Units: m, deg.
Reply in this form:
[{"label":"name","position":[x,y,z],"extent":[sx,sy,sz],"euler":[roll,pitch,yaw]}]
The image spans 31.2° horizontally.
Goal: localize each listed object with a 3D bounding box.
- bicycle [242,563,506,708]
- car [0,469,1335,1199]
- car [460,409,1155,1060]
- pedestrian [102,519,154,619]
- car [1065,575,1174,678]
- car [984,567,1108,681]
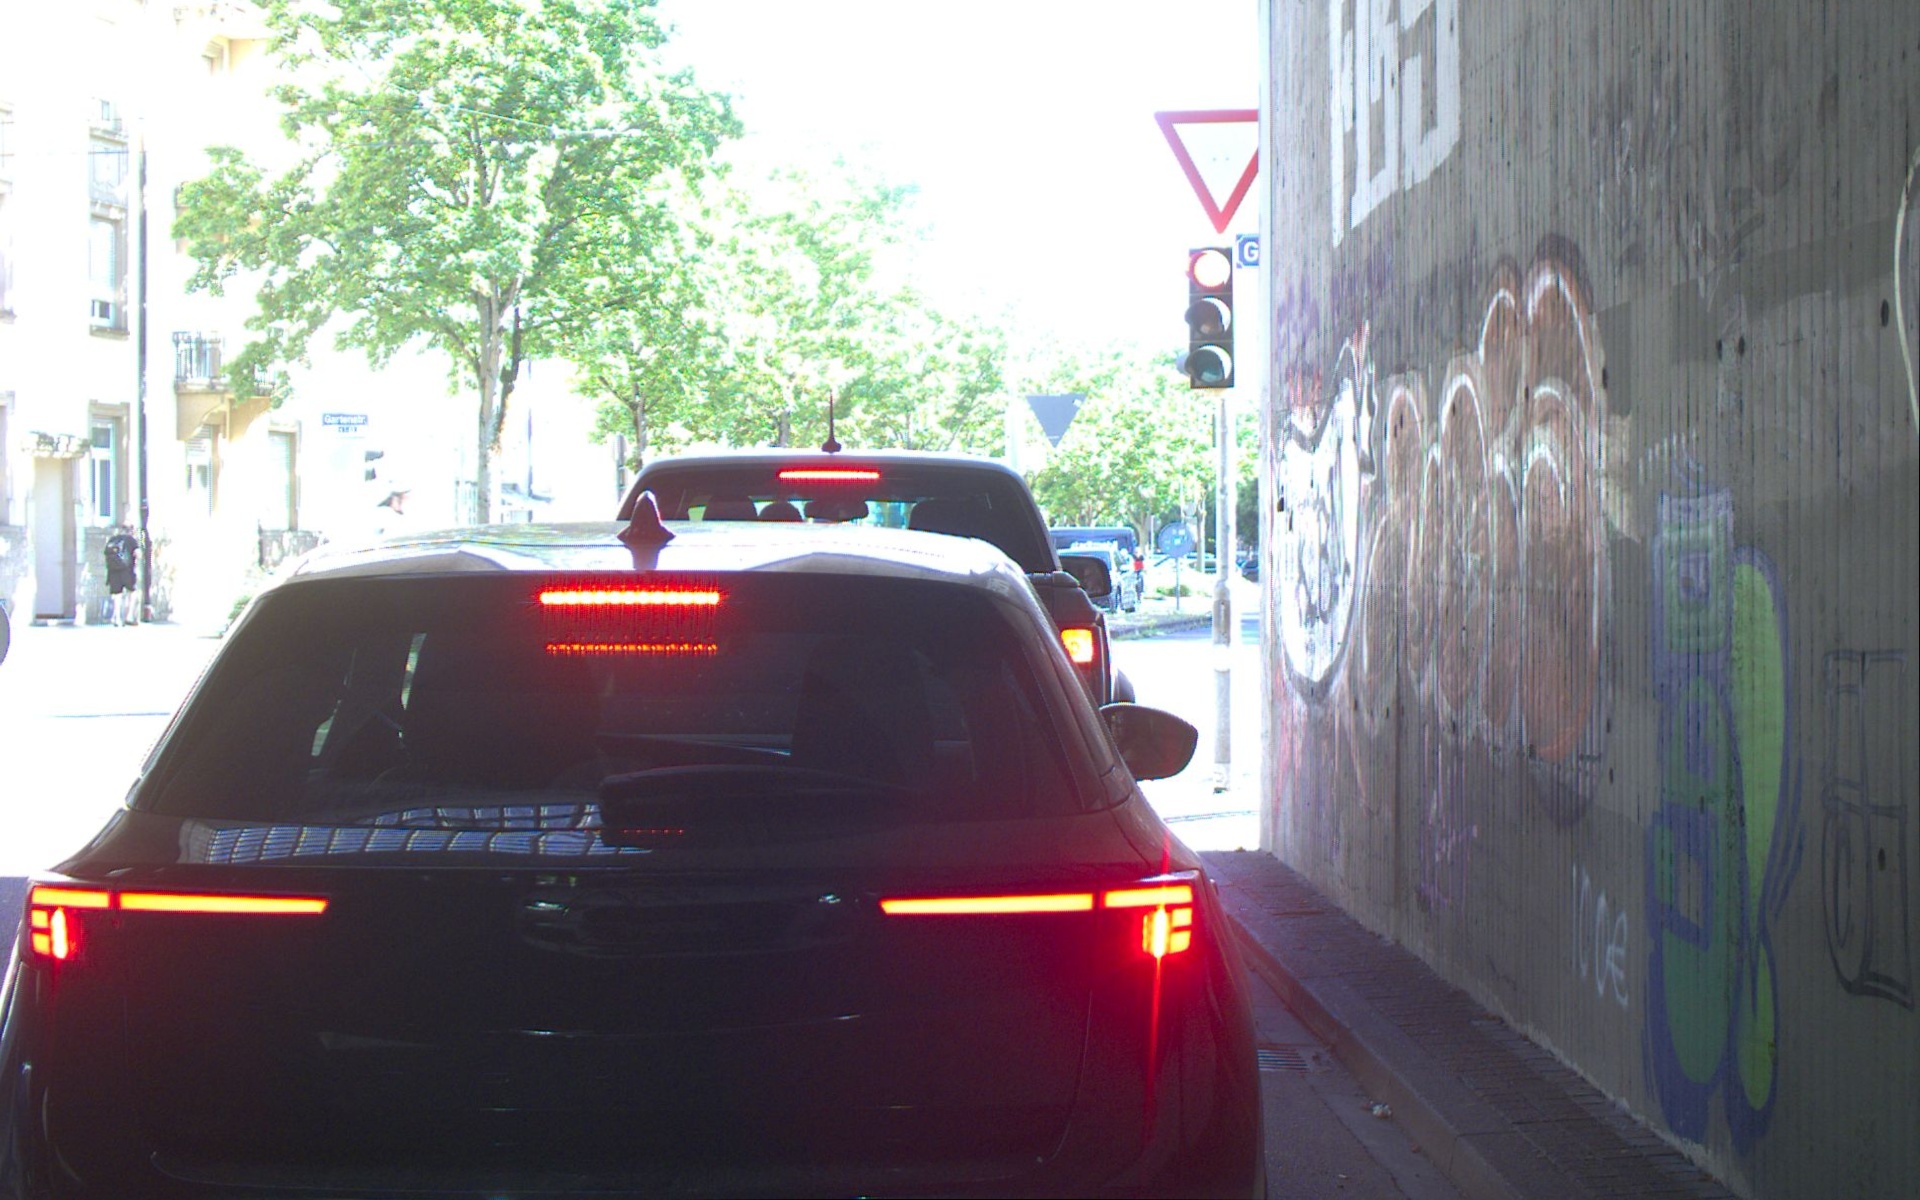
[{"label":"bicycle","position":[-4.679,0.276,27.547],"extent":[1.912,1.115,0.953],"euler":[1,0,2]},{"label":"car","position":[-0.476,0.566,6.048],"extent":[1.764,1.566,4.001],"euler":[1,2,-1]},{"label":"car","position":[-0.460,0.350,11.923],"extent":[1.993,1.865,4.000],"euler":[0,1,-1]},{"label":"pedestrian","position":[-13.735,-0.511,56.777],"extent":[0.672,1.632,0.740],"euler":[1,0,-1]},{"label":"car","position":[3.208,0.497,68.368],"extent":[1.994,1.963,4.163],"euler":[1,1,5]},{"label":"car","position":[1.596,0.396,62.306],"extent":[1.994,1.963,4.163],"euler":[1,1,5]}]
